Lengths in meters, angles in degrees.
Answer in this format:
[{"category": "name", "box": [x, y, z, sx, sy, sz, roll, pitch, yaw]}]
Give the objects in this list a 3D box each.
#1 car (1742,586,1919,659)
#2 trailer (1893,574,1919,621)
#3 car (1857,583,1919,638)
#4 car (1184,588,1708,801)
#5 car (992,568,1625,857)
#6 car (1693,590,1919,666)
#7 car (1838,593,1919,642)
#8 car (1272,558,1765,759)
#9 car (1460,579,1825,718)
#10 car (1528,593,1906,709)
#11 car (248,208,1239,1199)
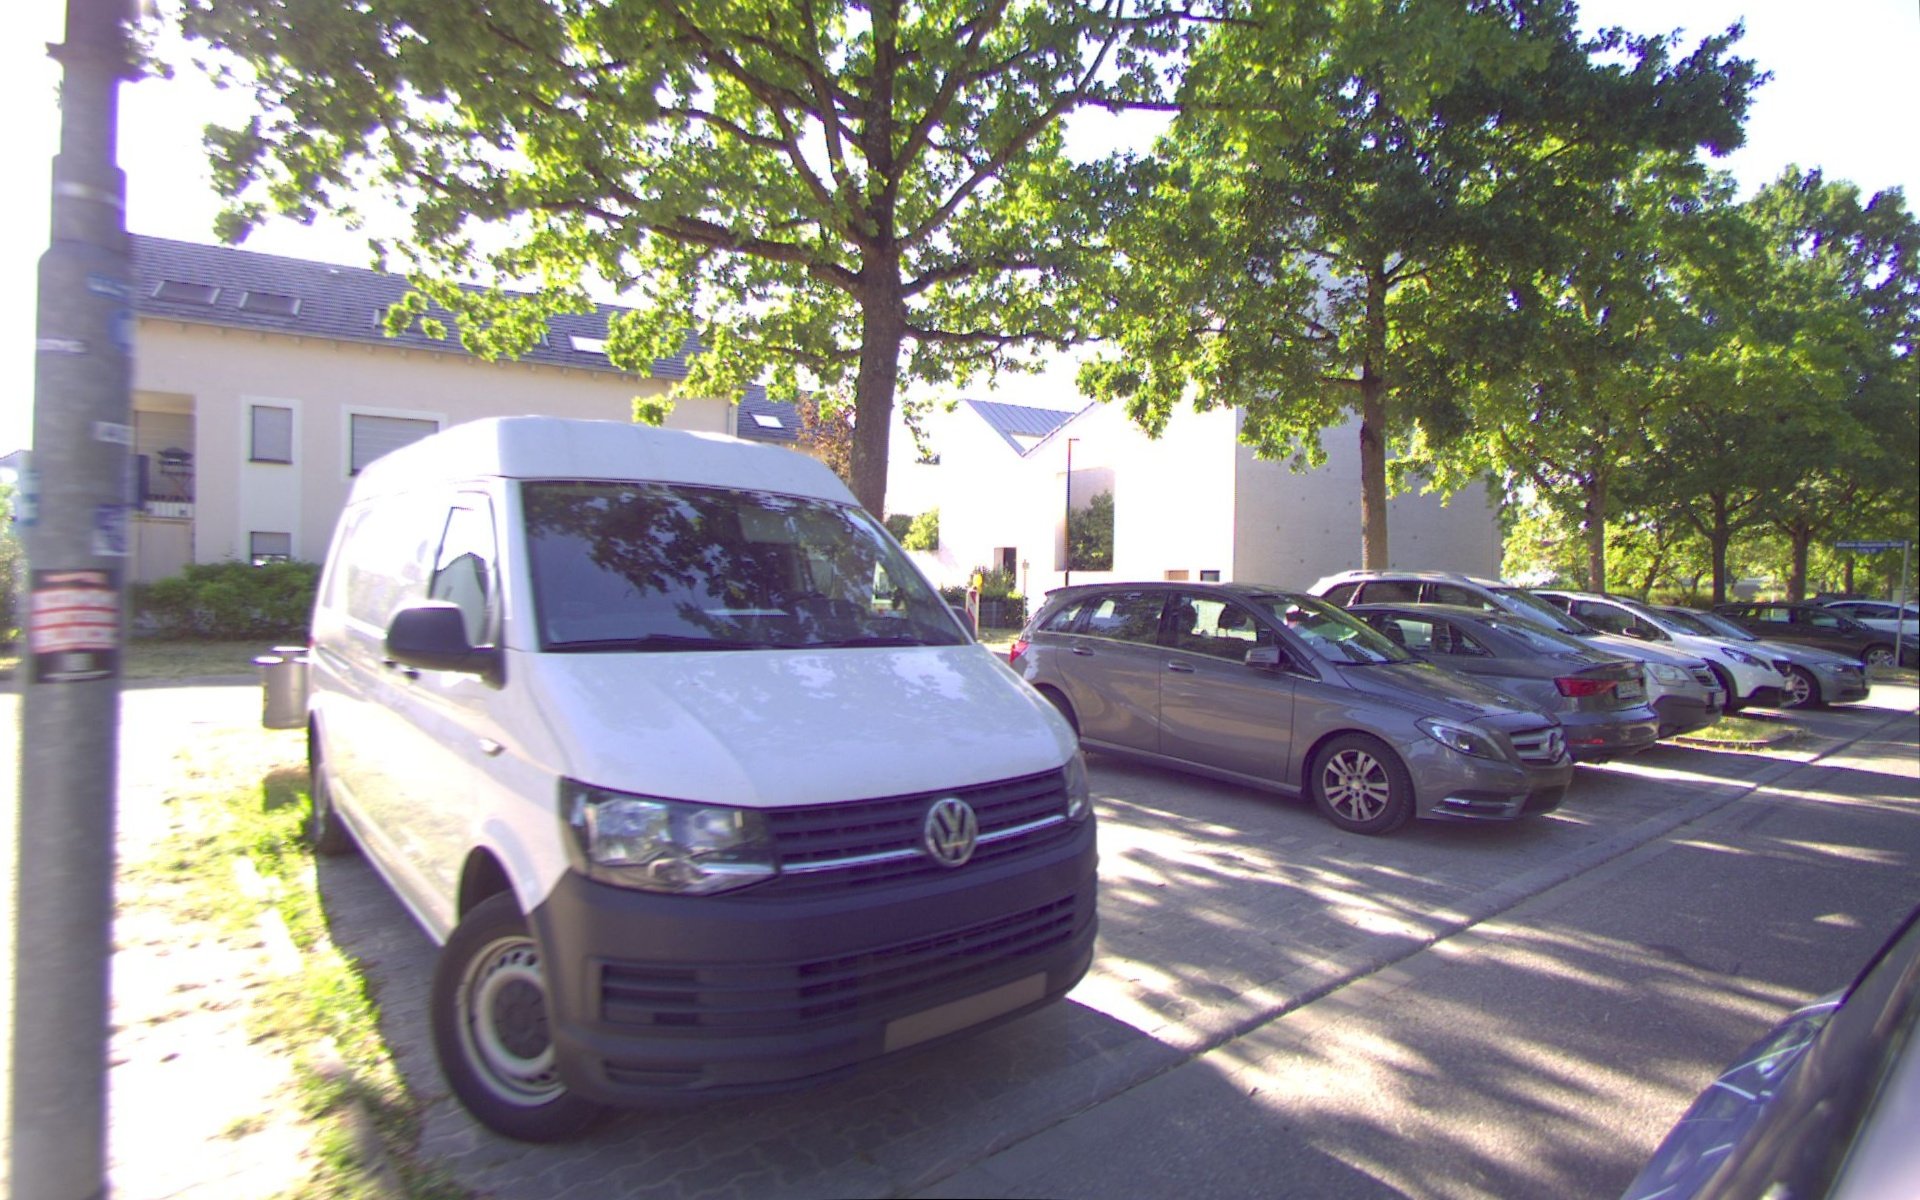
[{"category": "car", "box": [23.052, 0.560, 25.718, 1.882, 1.600, 4.683, 1, 3, -39]}, {"category": "trailer", "box": [49.965, 0.012, 49.690, 1.655, 2.346, 5.793, 1, 3, -37]}, {"category": "car", "box": [33.934, 0.428, 34.632, 1.901, 1.823, 4.541, 0, 2, -39]}, {"category": "car", "box": [4.279, 0.669, 9.449, 1.866, 1.451, 3.998, 1, 1, -38]}, {"category": "car", "box": [2.379, 0.584, 7.778, 1.900, 1.588, 4.220, 1, 1, -41]}, {"category": "car", "box": [20.564, 0.623, 24.107, 1.883, 1.473, 4.682, 1, 3, -40]}, {"category": "car", "box": [31.898, 0.632, 33.327, 1.767, 1.490, 4.234, 1, 3, -38]}, {"category": "car", "box": [5.952, 0.453, 11.255, 1.819, 1.671, 4.393, 1, 3, -41]}, {"category": "car", "box": [9.427, 0.559, 14.232, 1.746, 1.515, 3.894, 0, 3, -40]}, {"category": "car", "box": [11.773, 0.682, 16.018, 1.877, 1.407, 4.456, 1, 2, -40]}, {"category": "car", "box": [-1.600, 0.258, 4.504, 2.046, 2.131, 5.197, 0, 2, -41]}]
